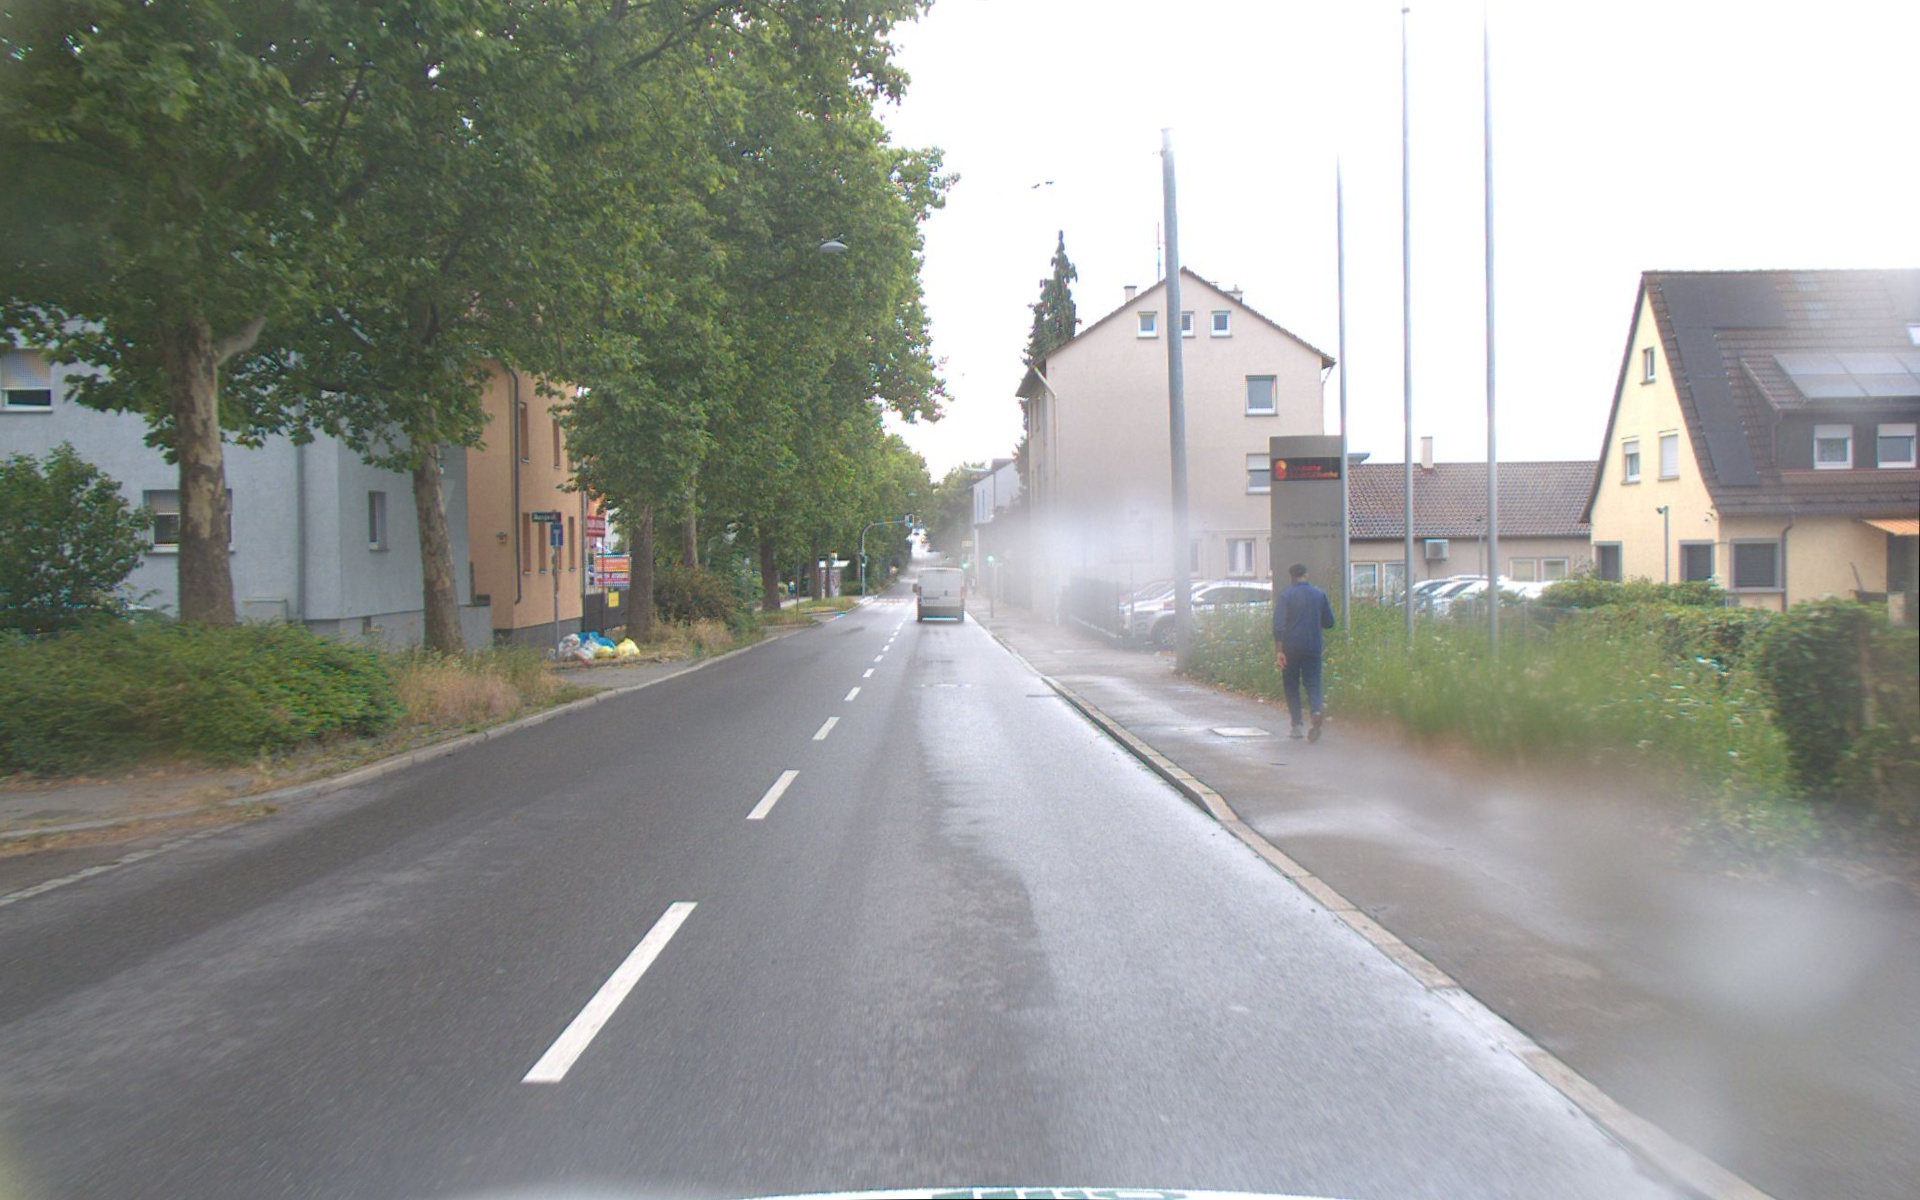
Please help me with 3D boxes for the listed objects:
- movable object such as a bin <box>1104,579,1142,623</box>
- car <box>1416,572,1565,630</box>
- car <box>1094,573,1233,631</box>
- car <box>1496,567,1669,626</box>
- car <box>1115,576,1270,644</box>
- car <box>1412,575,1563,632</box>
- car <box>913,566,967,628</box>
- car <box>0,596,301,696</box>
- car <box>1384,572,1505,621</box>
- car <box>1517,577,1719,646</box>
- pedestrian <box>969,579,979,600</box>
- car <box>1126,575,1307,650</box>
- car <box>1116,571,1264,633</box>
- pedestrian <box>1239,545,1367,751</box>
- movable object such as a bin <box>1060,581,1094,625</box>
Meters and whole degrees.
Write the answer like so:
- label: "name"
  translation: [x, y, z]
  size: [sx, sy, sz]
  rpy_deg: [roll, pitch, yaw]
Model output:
- label: "movable object such as a bin"
  translation: [5.952, 0.034, 60.546]
  size: [1.209, 1.536, 1.110]
  rpy_deg: [-3, -1, -2]
- label: "car"
  translation: [15.233, 0.030, 47.613]
  size: [3.690, 1.559, 1.757]
  rpy_deg: [1, 0, -5]
- label: "car"
  translation: [6.447, 0.070, 52.641]
  size: [4.142, 1.767, 1.869]
  rpy_deg: [1, -1, -1]
- label: "car"
  translation: [16.772, -0.087, 44.688]
  size: [3.907, 1.494, 1.999]
  rpy_deg: [1, -1, -3]
- label: "car"
  translation: [6.216, 0.263, 44.417]
  size: [3.868, 1.754, 1.791]
  rpy_deg: [1, 0, -1]
- label: "car"
  translation: [16.045, 0.114, 50.416]
  size: [4.002, 1.628, 1.793]
  rpy_deg: [1, -1, -3]
- label: "car"
  translation: [-0.842, -0.115, 70.993]
  size: [2.236, 2.597, 3.999]
  rpy_deg: [0, -1, -1]
- label: "car"
  translation: [-13.374, 0.725, 26.856]
  size: [4.568, 1.502, 1.869]
  rpy_deg: [1, -1, -1]
- label: "car"
  translation: [16.639, -0.107, 56.851]
  size: [3.903, 1.621, 1.822]
  rpy_deg: [1, -1, 16]
- label: "car"
  translation: [16.782, 0.272, 42.298]
  size: [4.412, 1.655, 1.869]
  rpy_deg: [-1, 0, -1]
- label: "pedestrian"
  translation: [1.154, -0.835, 134.593]
  size: [0.728, 1.734, 0.900]
  rpy_deg: [1, 0, -7]
- label: "car"
  translation: [6.406, 0.319, 41.650]
  size: [4.215, 1.799, 1.999]
  rpy_deg: [1, -1, -1]
- label: "car"
  translation: [6.875, 0.066, 49.736]
  size: [4.142, 1.767, 1.869]
  rpy_deg: [1, -1, -1]
- label: "pedestrian"
  translation: [3.318, 0.456, 16.080]
  size: [1.022, 1.930, 0.900]
  rpy_deg: [-1, -1, -1]
- label: "movable object such as a bin"
  translation: [4.281, 0.113, 60.581]
  size: [1.088, 1.536, 0.986]
  rpy_deg: [-3, -1, -2]
